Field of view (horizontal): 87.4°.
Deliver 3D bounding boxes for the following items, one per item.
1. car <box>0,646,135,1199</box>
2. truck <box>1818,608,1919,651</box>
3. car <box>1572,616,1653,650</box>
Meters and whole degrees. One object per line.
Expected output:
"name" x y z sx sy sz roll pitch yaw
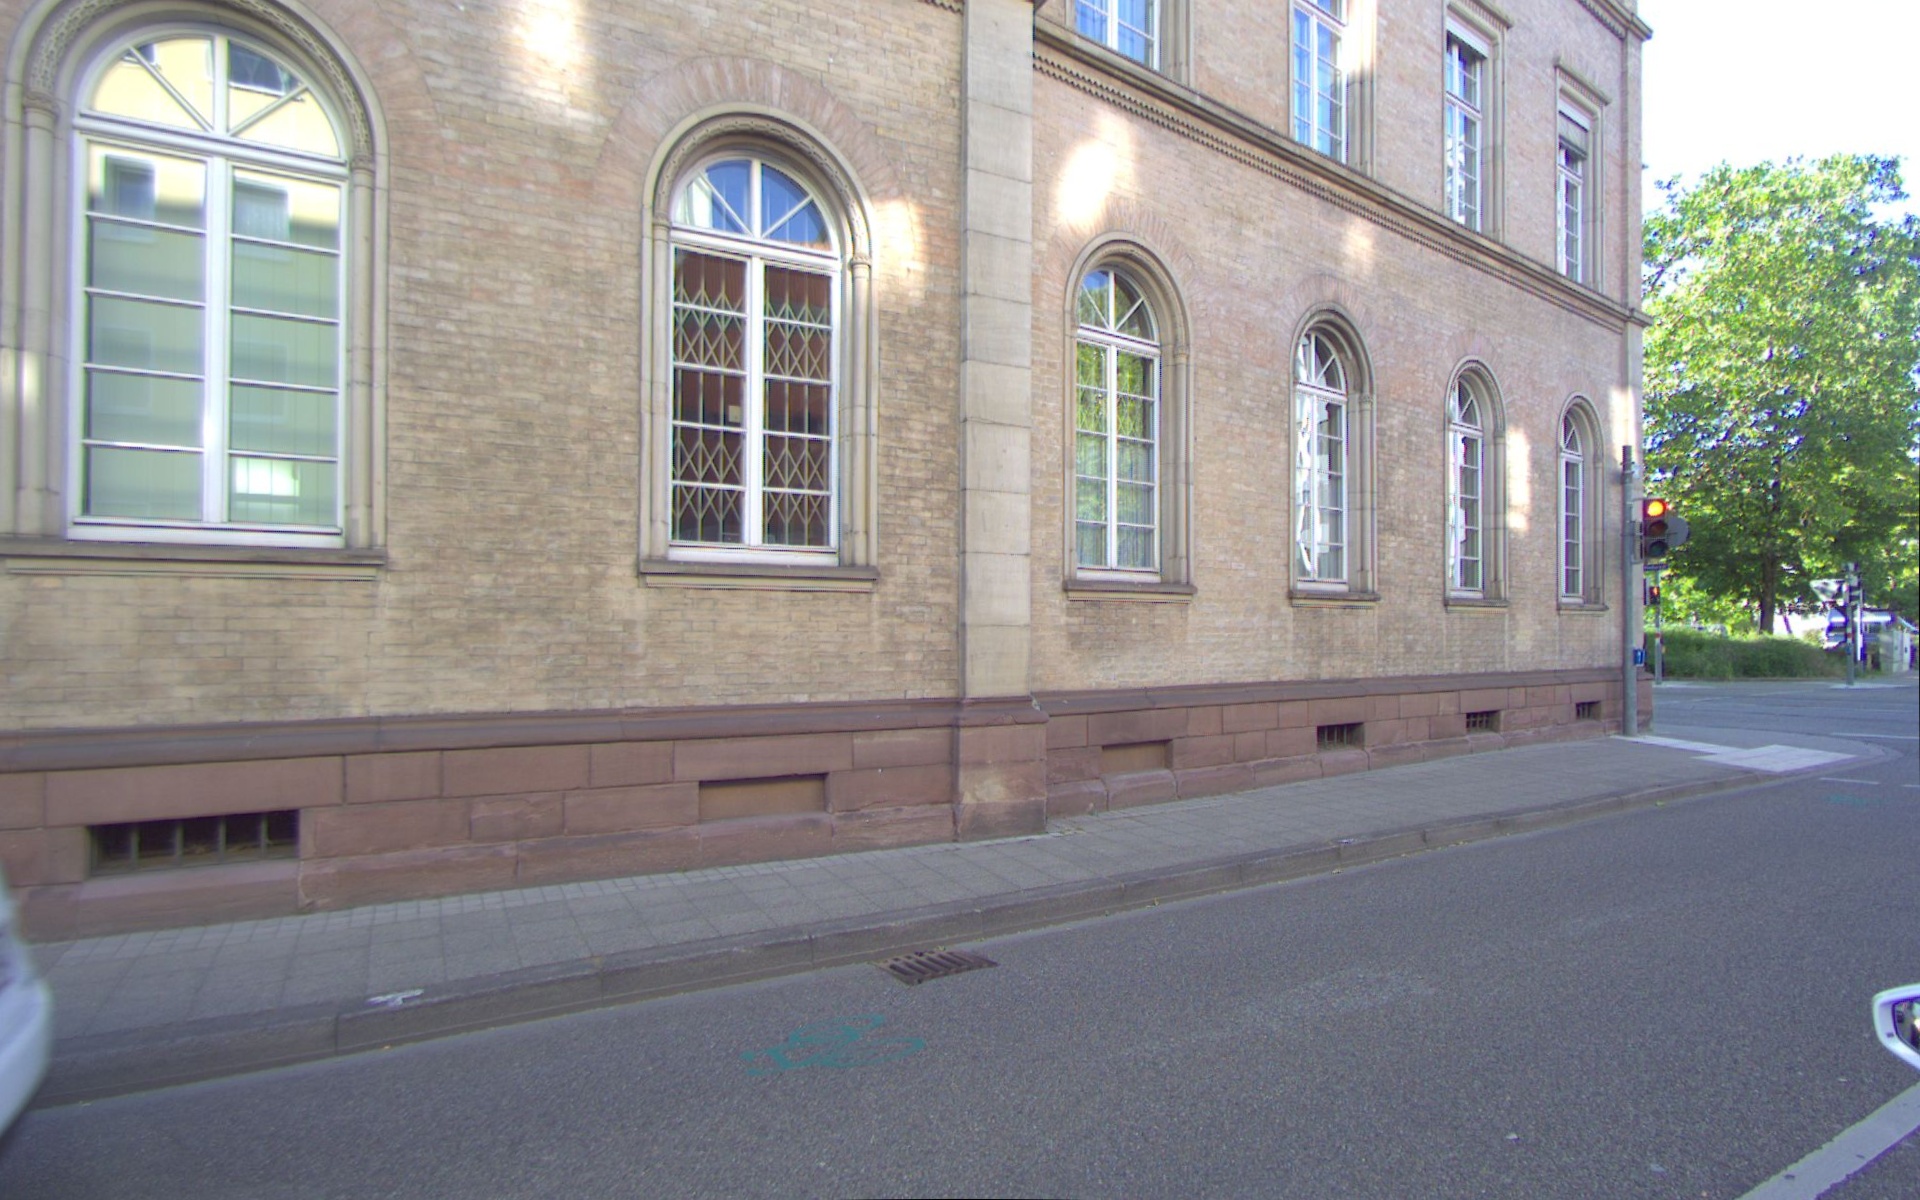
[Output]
"car" -4.151 0.813 1.257 4.490 1.495 1.879 1 -4 -29
"truck" 53.760 1.677 59.069 2.069 2.431 4.790 1 -1 -39
"car" 47.835 2.478 73.722 2.056 2.423 4.521 2 -3 -38
